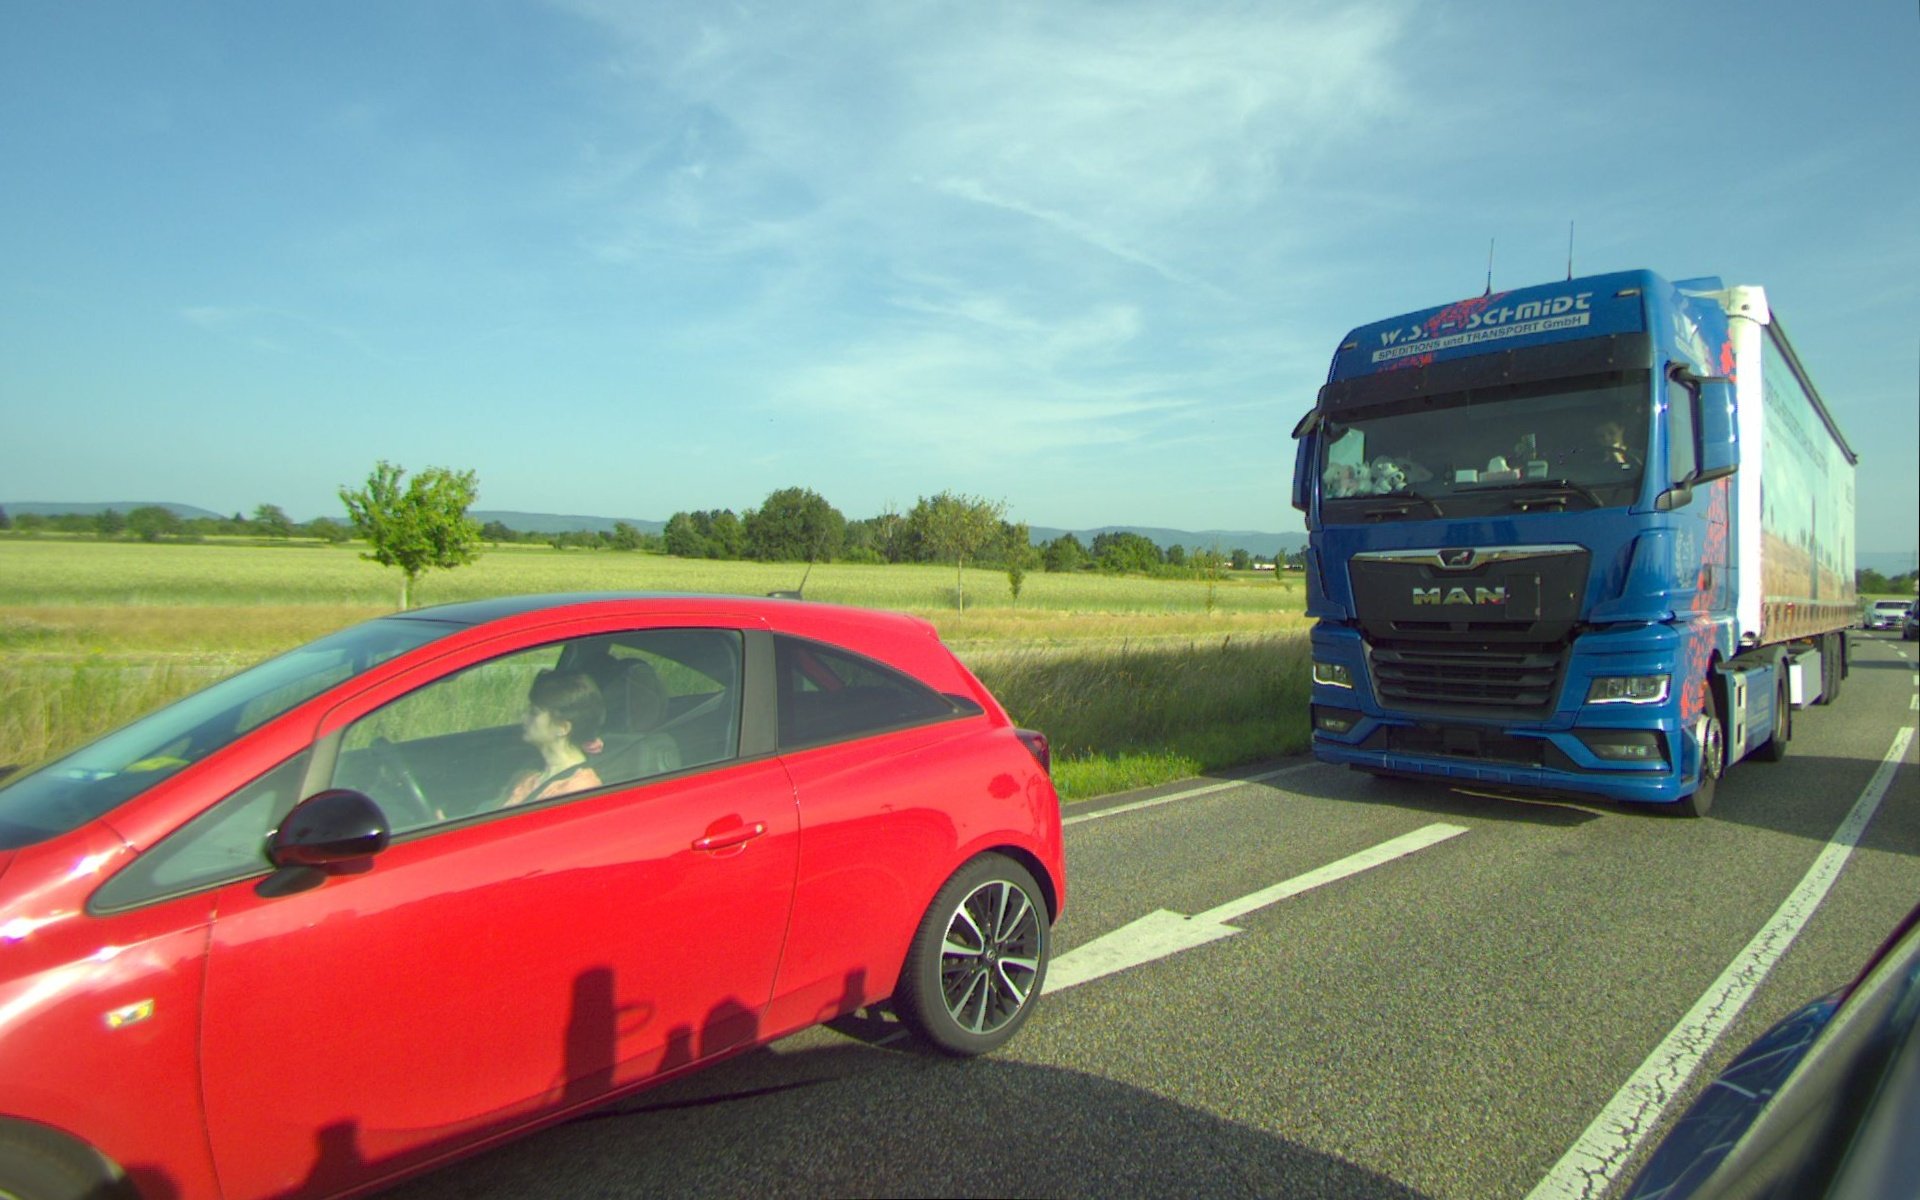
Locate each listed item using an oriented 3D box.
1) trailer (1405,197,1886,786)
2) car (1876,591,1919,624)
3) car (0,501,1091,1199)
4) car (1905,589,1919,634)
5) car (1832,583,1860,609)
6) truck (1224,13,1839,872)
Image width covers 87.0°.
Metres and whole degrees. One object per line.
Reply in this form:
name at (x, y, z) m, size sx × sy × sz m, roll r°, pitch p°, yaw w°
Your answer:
trailer at (10.270, -0.987, 13.943) m, size 3.282 × 4.739 × 12.938 m, roll 0°, pitch 1°, yaw 44°
car at (43.497, 0.327, 46.758) m, size 1.551 × 1.417 × 3.977 m, roll 2°, pitch 2°, yaw 40°
car at (-1.451, 0.599, 2.865) m, size 3.689 × 1.568 × 1.698 m, roll 0°, pitch 2°, yaw -44°
car at (35.030, 0.407, 36.227) m, size 1.551 × 1.579 × 3.005 m, roll 2°, pitch 1°, yaw 40°
car at (70.908, -0.343, 80.992) m, size 1.551 × 1.944 × 3.977 m, roll 2°, pitch 1°, yaw 40°
truck at (5.191, -0.910, 8.749) m, size 3.301 × 4.716 × 5.640 m, roll 0°, pitch 1°, yaw 45°
